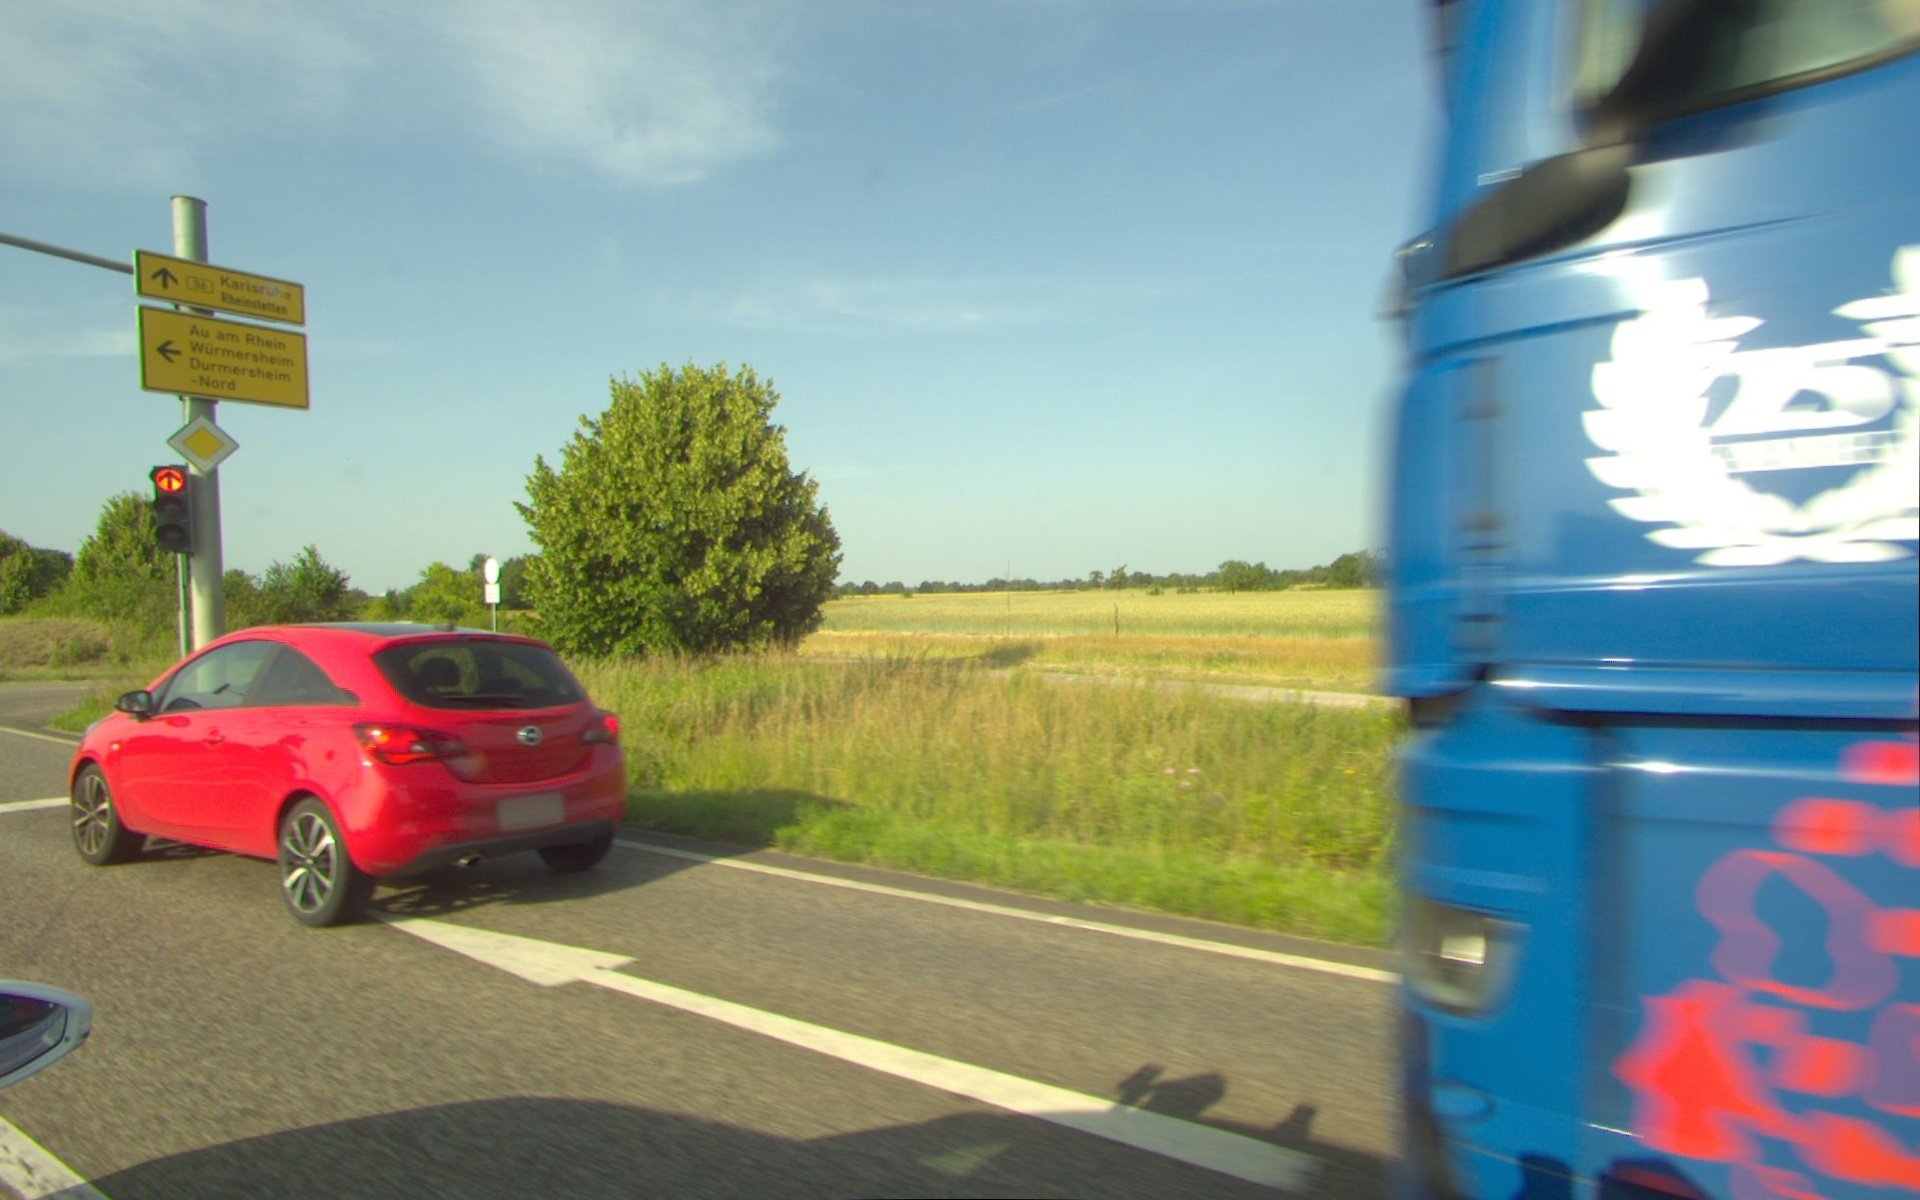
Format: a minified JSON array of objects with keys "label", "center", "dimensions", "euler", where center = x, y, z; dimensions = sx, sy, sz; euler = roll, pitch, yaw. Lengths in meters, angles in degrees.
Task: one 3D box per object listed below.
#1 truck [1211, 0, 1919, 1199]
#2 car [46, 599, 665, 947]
[{"label":"truck","center":[3.615,-0.847,1.541],"dimensions":[5.645,4.717,3.297],"euler":[-1,-1,29]},{"label":"car","center":[-3.778,0.801,6.170],"dimensions":[3.694,1.569,1.694],"euler":[0,0,30]}]
